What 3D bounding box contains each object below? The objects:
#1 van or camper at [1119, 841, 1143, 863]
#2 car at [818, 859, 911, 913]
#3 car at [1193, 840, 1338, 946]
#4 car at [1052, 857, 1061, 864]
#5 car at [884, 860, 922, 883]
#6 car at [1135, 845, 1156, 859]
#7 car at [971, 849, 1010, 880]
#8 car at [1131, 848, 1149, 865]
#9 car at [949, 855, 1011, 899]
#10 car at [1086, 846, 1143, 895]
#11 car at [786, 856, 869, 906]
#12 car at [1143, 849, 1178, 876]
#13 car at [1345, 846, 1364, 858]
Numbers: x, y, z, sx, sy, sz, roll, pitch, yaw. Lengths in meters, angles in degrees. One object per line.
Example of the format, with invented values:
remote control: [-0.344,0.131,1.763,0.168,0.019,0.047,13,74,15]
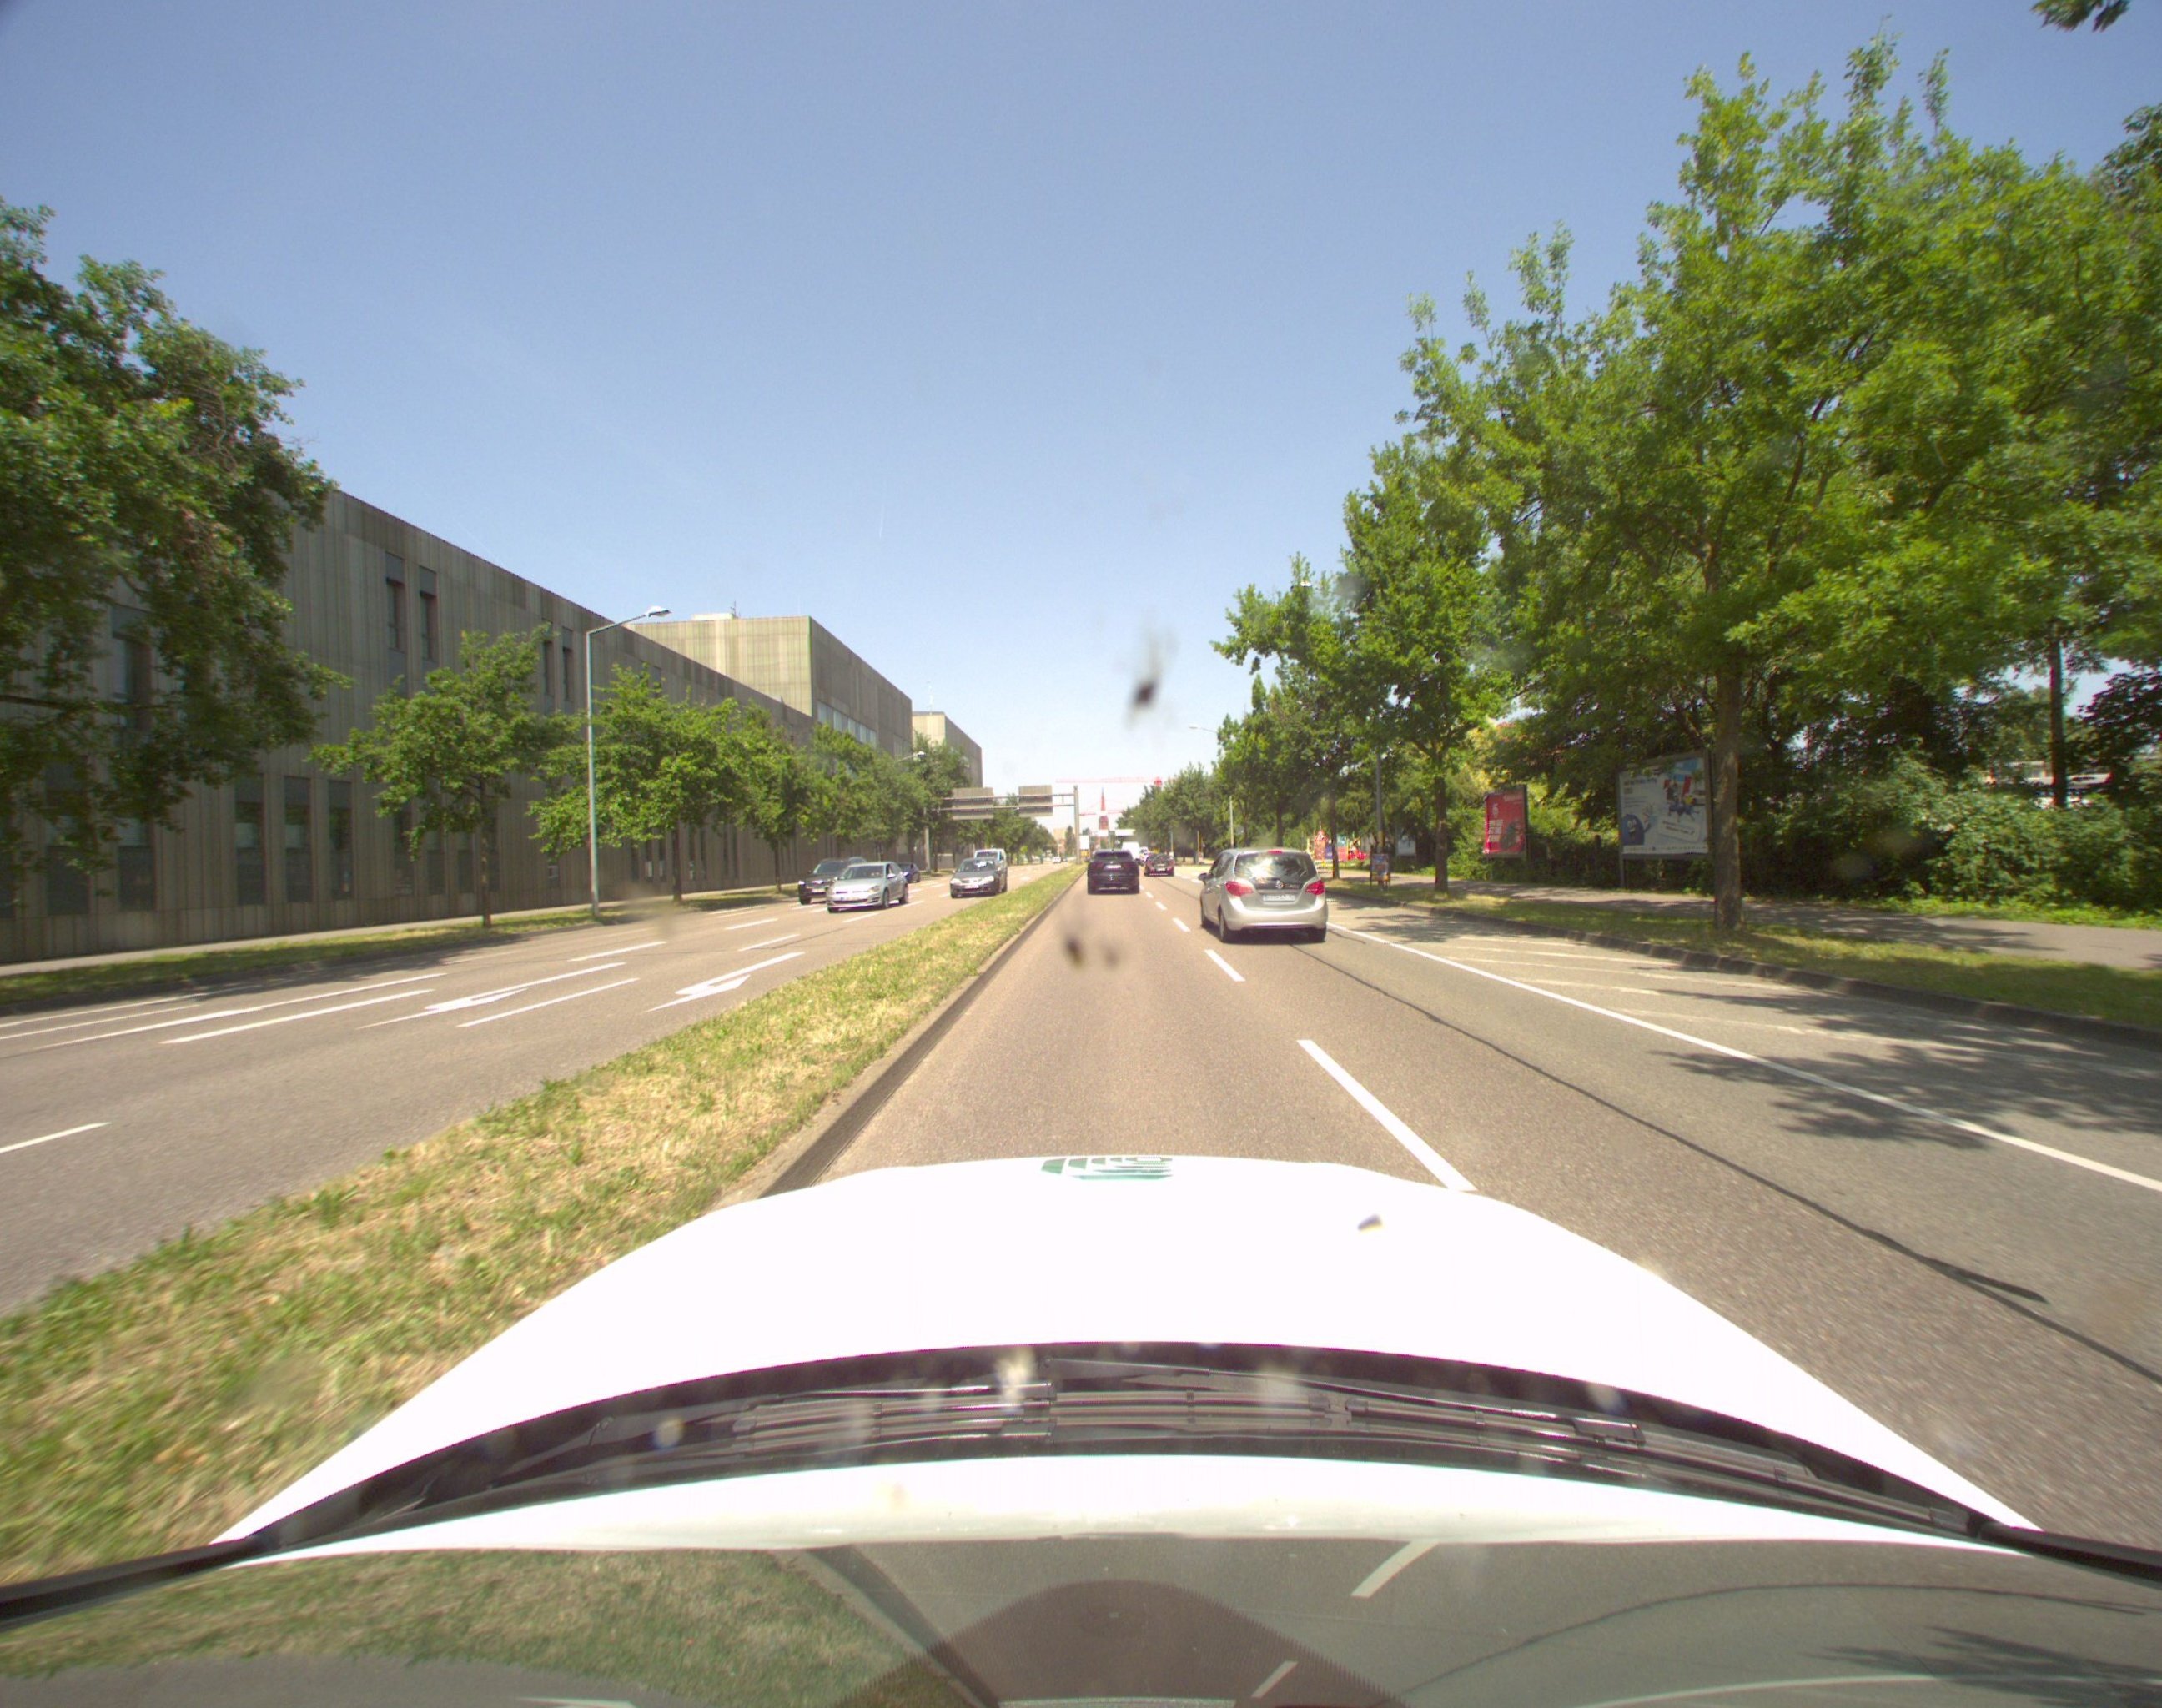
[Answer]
van or camper: [5.569,-0.190,91.829,2.484,2.291,4.923,-2,-1,2]
car: [-6.772,0.953,25.926,1.760,1.460,4.144,-3,0,0]
car: [3.169,0.608,14.756,1.786,1.612,3.892,-2,0,1]
car: [-5.621,1.541,186.655,1.805,1.427,4.358,-3,0,0]
car: [-12.051,1.156,55.296,1.616,1.455,4.016,-2,0,0]
car: [6.715,-0.162,85.010,1.650,1.356,4.456,-2,-1,-2]
car: [-6.225,0.696,56.700,1.902,1.993,4.900,-3,0,2]
car: [7.359,0.251,101.634,1.986,2.013,4.002,-2,0,2]
car: [-3.744,0.808,30.812,1.805,1.466,4.056,-3,0,0]
car: [1.310,0.585,30.985,1.989,1.689,4.037,-1,0,3]
car: [-10.128,1.012,32.940,1.805,1.746,4.645,-3,0,0]
car: [4.902,0.543,50.680,2.005,1.517,4.465,-2,-1,3]
car: [29.306,-0.241,87.337,1.372,1.187,3.310,-2,0,8]
